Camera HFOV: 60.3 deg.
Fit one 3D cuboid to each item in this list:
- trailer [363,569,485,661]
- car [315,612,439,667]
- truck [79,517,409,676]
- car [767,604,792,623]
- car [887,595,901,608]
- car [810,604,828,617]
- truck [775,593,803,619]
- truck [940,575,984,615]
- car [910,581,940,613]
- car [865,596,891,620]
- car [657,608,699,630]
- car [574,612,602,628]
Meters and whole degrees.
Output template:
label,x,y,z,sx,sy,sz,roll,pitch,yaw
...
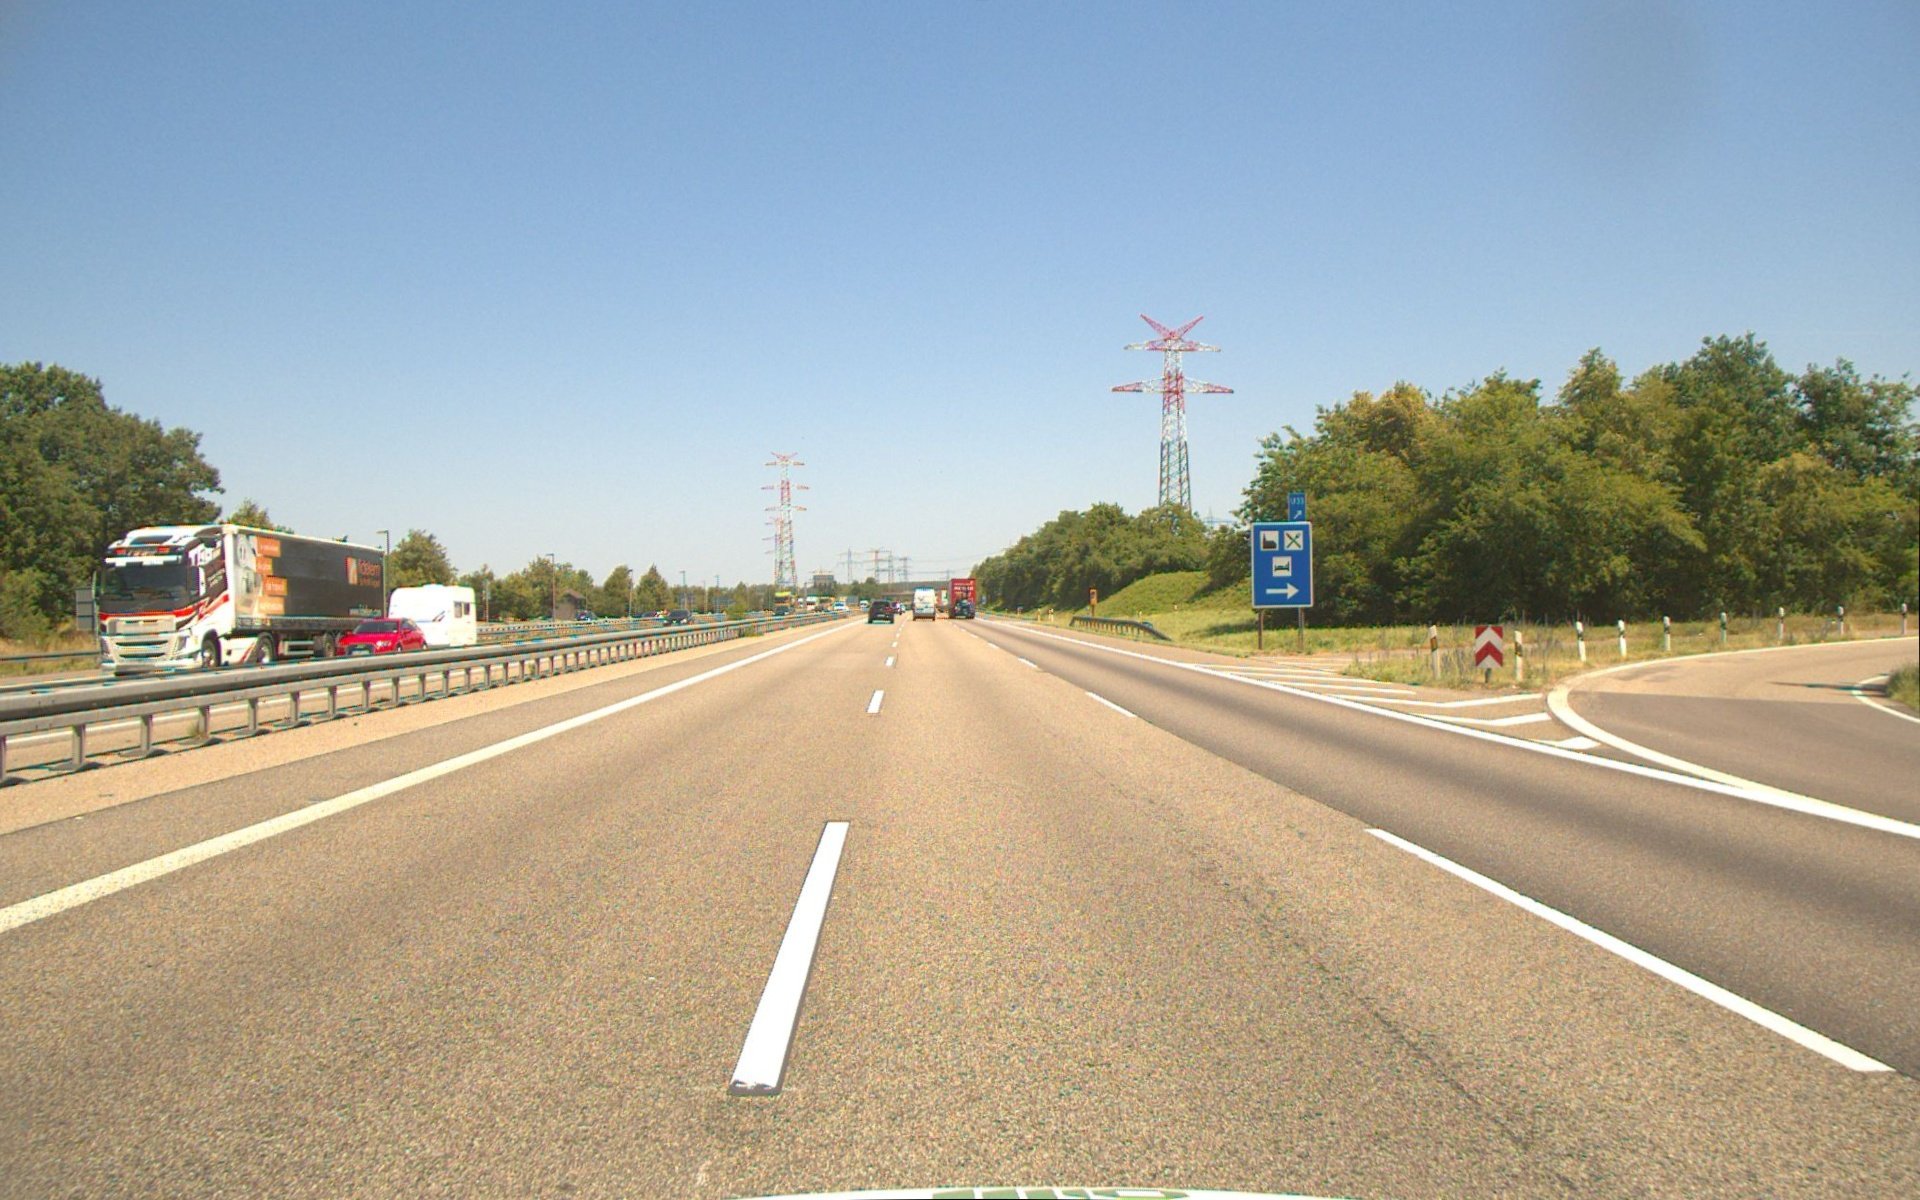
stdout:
label,x,y,z,sx,sy,sz,roll,pitch,yaw
trailer,-17.668,0.455,54.851,2.427,2.795,5.072,-3,0,-2
car,-17.525,1.164,49.970,2.183,1.404,4.690,-3,0,-2
truck,-21.416,-0.077,51.413,3.259,4.066,16.861,-1,0,-2
car,-17.384,1.287,159.689,2.011,1.578,4.888,-3,0,-2
car,-8.717,0.185,218.353,1.712,1.662,4.002,1,0,-2
car,-18.660,1.425,218.946,2.011,1.578,4.888,-3,0,-2
truck,-26.179,0.852,253.353,3.107,3.877,13.526,-1,0,-1
truck,0.123,-0.511,175.265,4.244,4.010,16.073,1,0,-1
car,-3.188,-0.260,148.672,2.568,2.807,6.094,1,0,-2
car,-6.232,0.602,125.984,1.953,1.780,3.998,1,0,-2
car,-19.955,1.314,117.252,2.183,1.404,4.888,-3,0,-2
car,-40.038,2.150,178.197,2.011,1.578,4.888,-3,0,-2
